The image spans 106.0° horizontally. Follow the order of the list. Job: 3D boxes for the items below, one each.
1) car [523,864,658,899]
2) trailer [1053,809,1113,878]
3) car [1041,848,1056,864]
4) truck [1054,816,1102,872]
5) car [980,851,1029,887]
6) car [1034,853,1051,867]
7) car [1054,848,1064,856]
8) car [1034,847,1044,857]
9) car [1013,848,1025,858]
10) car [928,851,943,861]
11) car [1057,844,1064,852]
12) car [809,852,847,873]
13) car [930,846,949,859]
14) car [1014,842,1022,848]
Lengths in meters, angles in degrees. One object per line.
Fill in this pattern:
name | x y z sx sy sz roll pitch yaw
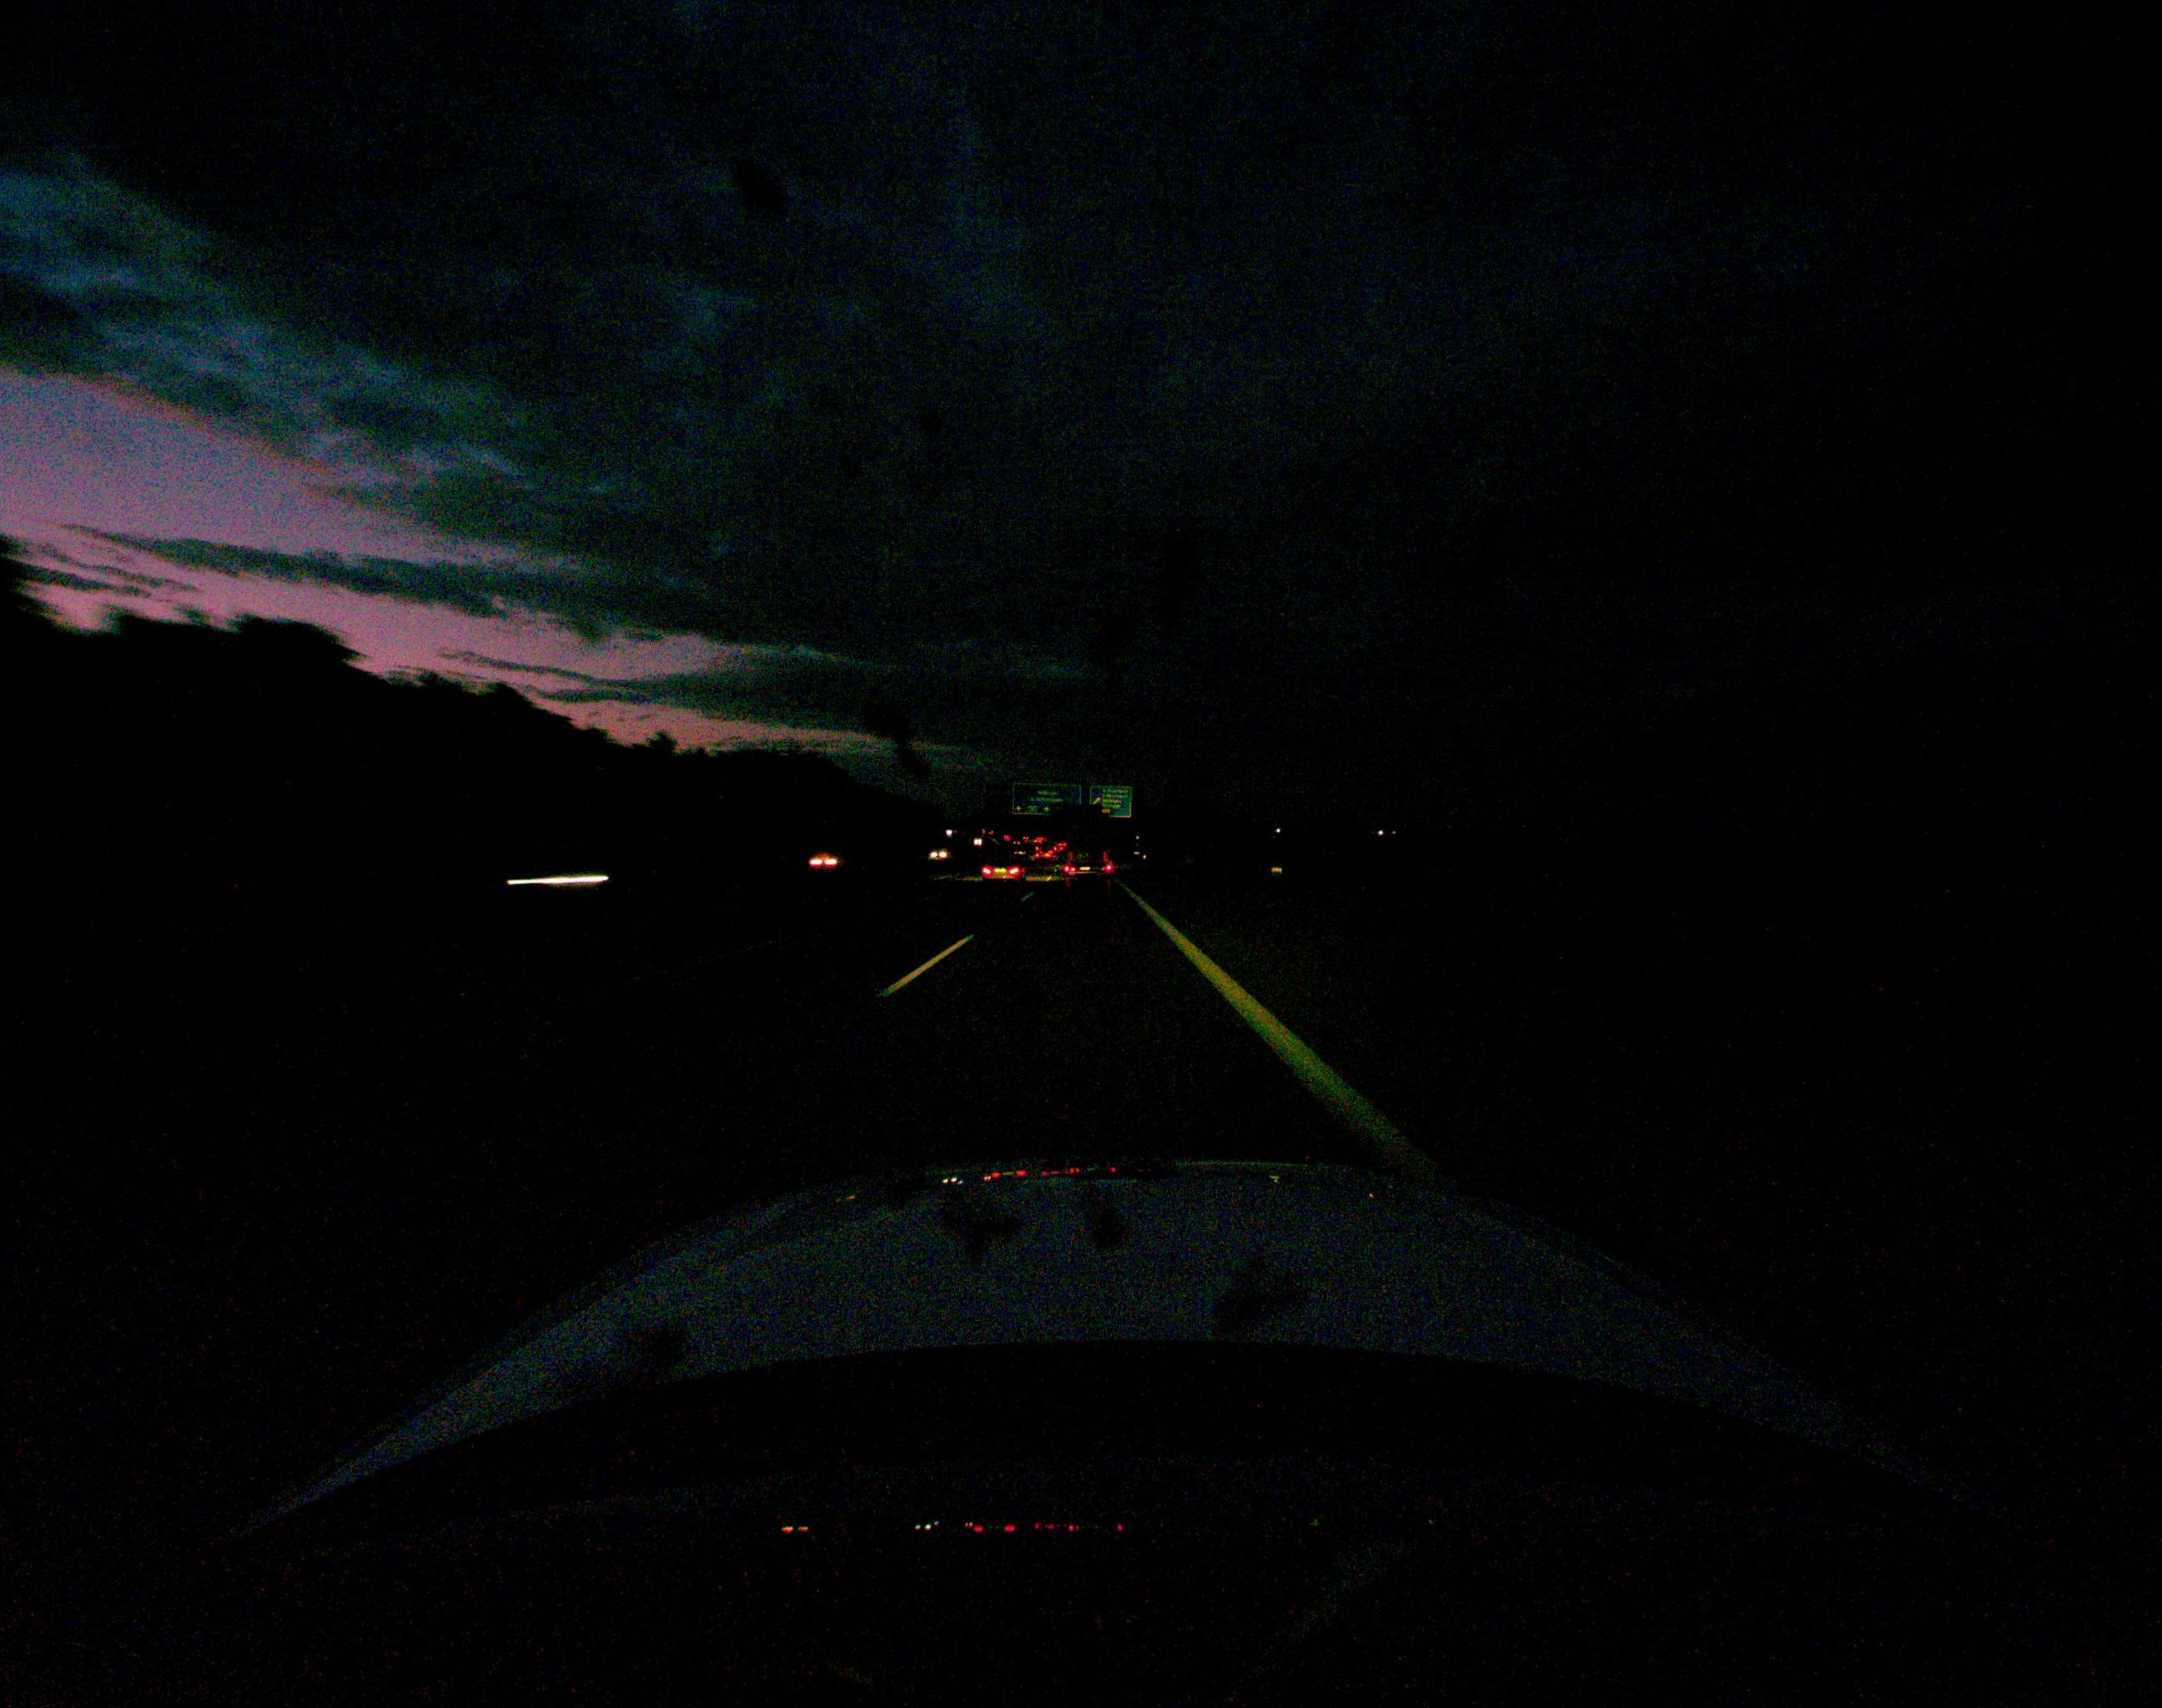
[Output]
car | -19.013 1.037 31.951 2.052 1.226 5.234 0 -1 1
trailer | -0.099 -0.710 56.709 3.541 4.116 15.053 -1 1 -2
car | -4.921 0.342 121.426 1.991 2.380 3.991 0 -1 -6
truck | -0.290 -0.790 63.886 3.541 4.090 6.147 -1 1 -2
car | -3.686 0.732 39.948 1.900 1.614 4.803 0 -1 0
car | -4.811 0.822 102.560 2.060 1.686 4.573 0 -1 -2
car | -4.758 -0.387 175.070 1.987 1.534 4.000 0 -1 1
car | -8.721 -0.497 170.506 1.988 2.014 3.998 0 -1 -1
car | -9.987 -0.123 131.226 1.756 1.575 4.574 0 -1 -1
car | -27.238 0.346 152.469 1.988 1.893 4.675 0 -1 -2
car | -5.444 -1.689 218.111 1.988 1.978 3.997 0 -1 -1
car | -23.904 0.834 77.071 1.987 1.893 5.056 0 -1 -1
car | -21.360 -0.194 123.102 1.869 1.893 5.056 0 -1 0
car | -20.123 -2.854 260.550 1.987 1.622 4.000 0 -1 1
